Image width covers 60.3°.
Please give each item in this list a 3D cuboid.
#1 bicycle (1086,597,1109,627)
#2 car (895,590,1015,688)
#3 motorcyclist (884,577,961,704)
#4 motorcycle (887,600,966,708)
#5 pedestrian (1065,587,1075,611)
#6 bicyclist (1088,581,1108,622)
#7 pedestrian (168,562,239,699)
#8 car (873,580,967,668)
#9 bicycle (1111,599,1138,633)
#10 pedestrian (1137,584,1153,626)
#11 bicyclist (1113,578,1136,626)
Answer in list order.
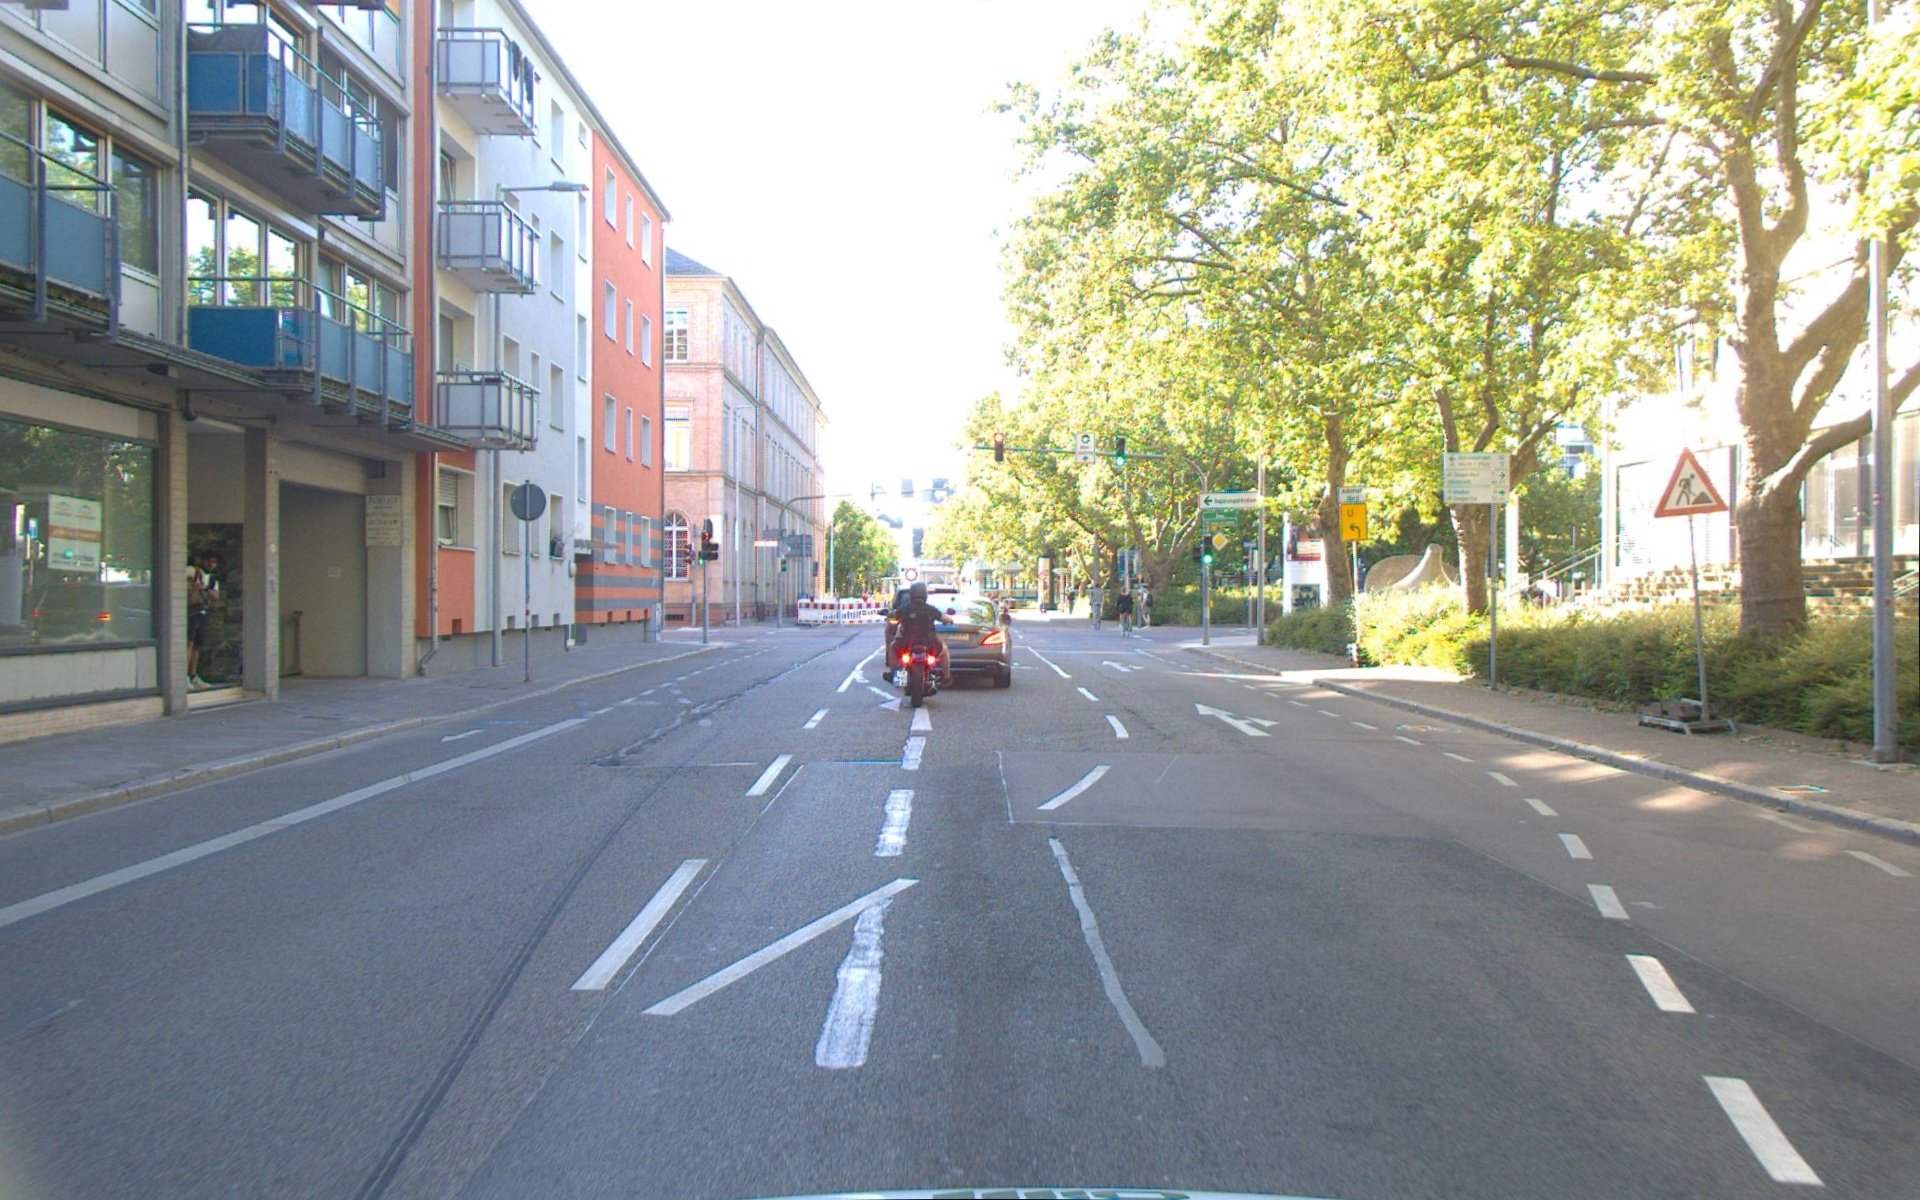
[{"bbox_3d":[5.305,0.466,63.842,0.643,1.131,2.185,2,0,-1],"label":"bicycle"},{"bbox_3d":[-0.110,0.577,26.724,1.791,1.445,3.814,1,0,-1],"label":"car"},{"bbox_3d":[-0.495,0.517,22.021,0.991,1.630,1.406,0,0,-1],"label":"motorcyclist"},{"bbox_3d":[-0.443,0.675,21.990,0.991,1.329,2.672,0,0,-1],"label":"motorcycle"},{"bbox_3d":[7.263,-0.056,109.134,0.580,1.606,0.527,1,0,-1],"label":"pedestrian"},{"bbox_3d":[5.315,0.059,63.877,0.643,1.557,0.906,2,0,-1],"label":"bicyclist"},{"bbox_3d":[-9.034,0.356,19.763,0.503,1.607,0.756,0,0,-1],"label":"pedestrian"},{"bbox_3d":[-0.876,0.464,34.284,1.599,1.679,3.845,2,0,-6],"label":"car"},{"bbox_3d":[5.456,0.515,54.947,0.643,1.089,1.926,2,0,-1],"label":"bicycle"},{"bbox_3d":[7.962,0.218,71.087,0.610,1.805,0.573,1,0,11],"label":"pedestrian"},{"bbox_3d":[5.471,0.063,54.943,0.643,1.557,0.852,2,0,-1],"label":"bicyclist"}]
